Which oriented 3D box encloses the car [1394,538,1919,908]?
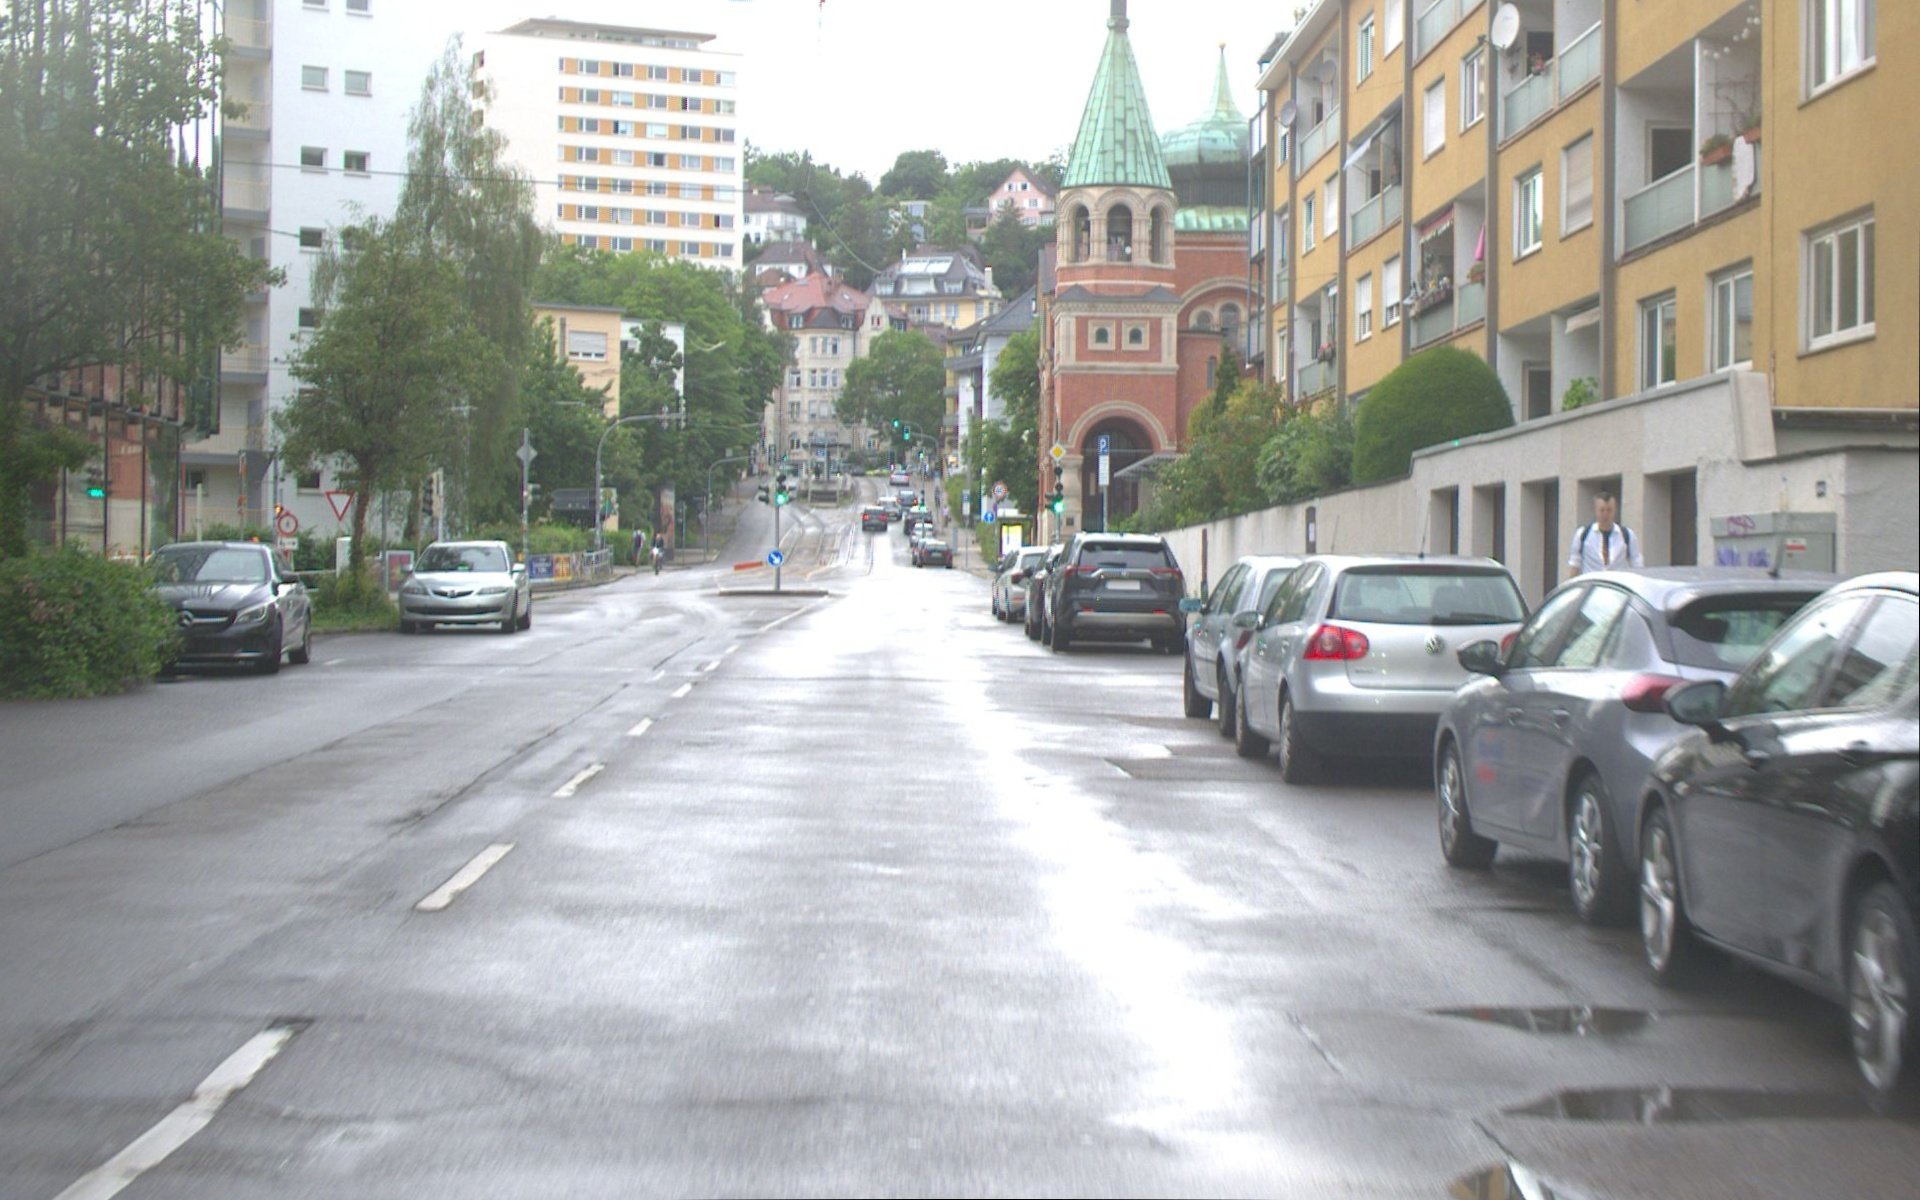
[{"bbox_3d":[3.175,0.471,15.298,1.663,1.416,3.922,1,0,-5],"label":"car"}]

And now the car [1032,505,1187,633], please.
[{"bbox_3d":[2.065,-0.469,48.535,1.817,1.647,4.076,3,1,-2],"label":"car"}]

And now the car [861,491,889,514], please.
[{"bbox_3d":[-5.961,-6.800,240.600,1.908,1.505,4.001,2,1,-2],"label":"car"}]

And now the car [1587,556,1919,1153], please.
[{"bbox_3d":[3.166,0.624,10.396,1.663,1.416,4.043,1,2,-2],"label":"car"}]

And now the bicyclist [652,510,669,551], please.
[{"bbox_3d":[-12.183,-2.815,139.803,0.677,1.655,0.650,1,1,-4],"label":"bicyclist"}]

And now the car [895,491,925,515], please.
[{"bbox_3d":[-3.419,-6.638,236.022,1.908,1.505,4.001,3,1,-2],"label":"car"}]

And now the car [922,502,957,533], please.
[{"bbox_3d":[-1.099,-4.393,183.206,1.732,1.648,4.000,1,2,1],"label":"car"}]

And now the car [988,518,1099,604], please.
[{"bbox_3d":[1.571,-0.775,65.915,1.817,1.517,4.076,3,1,-2],"label":"car"}]

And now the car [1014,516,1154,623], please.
[{"bbox_3d":[1.877,-0.504,53.253,1.817,1.517,4.076,3,1,-2],"label":"car"}]

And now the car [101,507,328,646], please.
[{"bbox_3d":[-8.282,-0.284,38.572,1.803,1.445,4.659,1,1,-4],"label":"car"}]

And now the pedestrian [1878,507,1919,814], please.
[{"bbox_3d":[5.332,0.298,18.276,0.664,1.598,0.744,-3,1,3],"label":"pedestrian"}]

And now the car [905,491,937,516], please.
[{"bbox_3d":[-2.529,-6.185,219.734,1.892,1.505,4.001,3,1,-2],"label":"car"}]

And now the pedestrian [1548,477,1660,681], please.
[{"bbox_3d":[5.597,-0.191,29.859,0.767,1.726,0.743,0,3,27],"label":"pedestrian"}]

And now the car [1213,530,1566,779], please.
[{"bbox_3d":[2.773,0.296,23.001,1.663,1.497,3.922,1,1,-3],"label":"car"}]

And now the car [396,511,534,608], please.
[{"bbox_3d":[-7.730,-0.645,53.946,1.709,1.445,4.295,1,1,-3],"label":"car"}]

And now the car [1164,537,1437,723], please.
[{"bbox_3d":[2.747,0.198,28.507,1.663,1.395,3.922,1,1,-3],"label":"car"}]

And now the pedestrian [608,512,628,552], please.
[{"bbox_3d":[-16.226,-3.234,163.286,0.887,1.886,0.923,1,1,-7],"label":"pedestrian"}]
